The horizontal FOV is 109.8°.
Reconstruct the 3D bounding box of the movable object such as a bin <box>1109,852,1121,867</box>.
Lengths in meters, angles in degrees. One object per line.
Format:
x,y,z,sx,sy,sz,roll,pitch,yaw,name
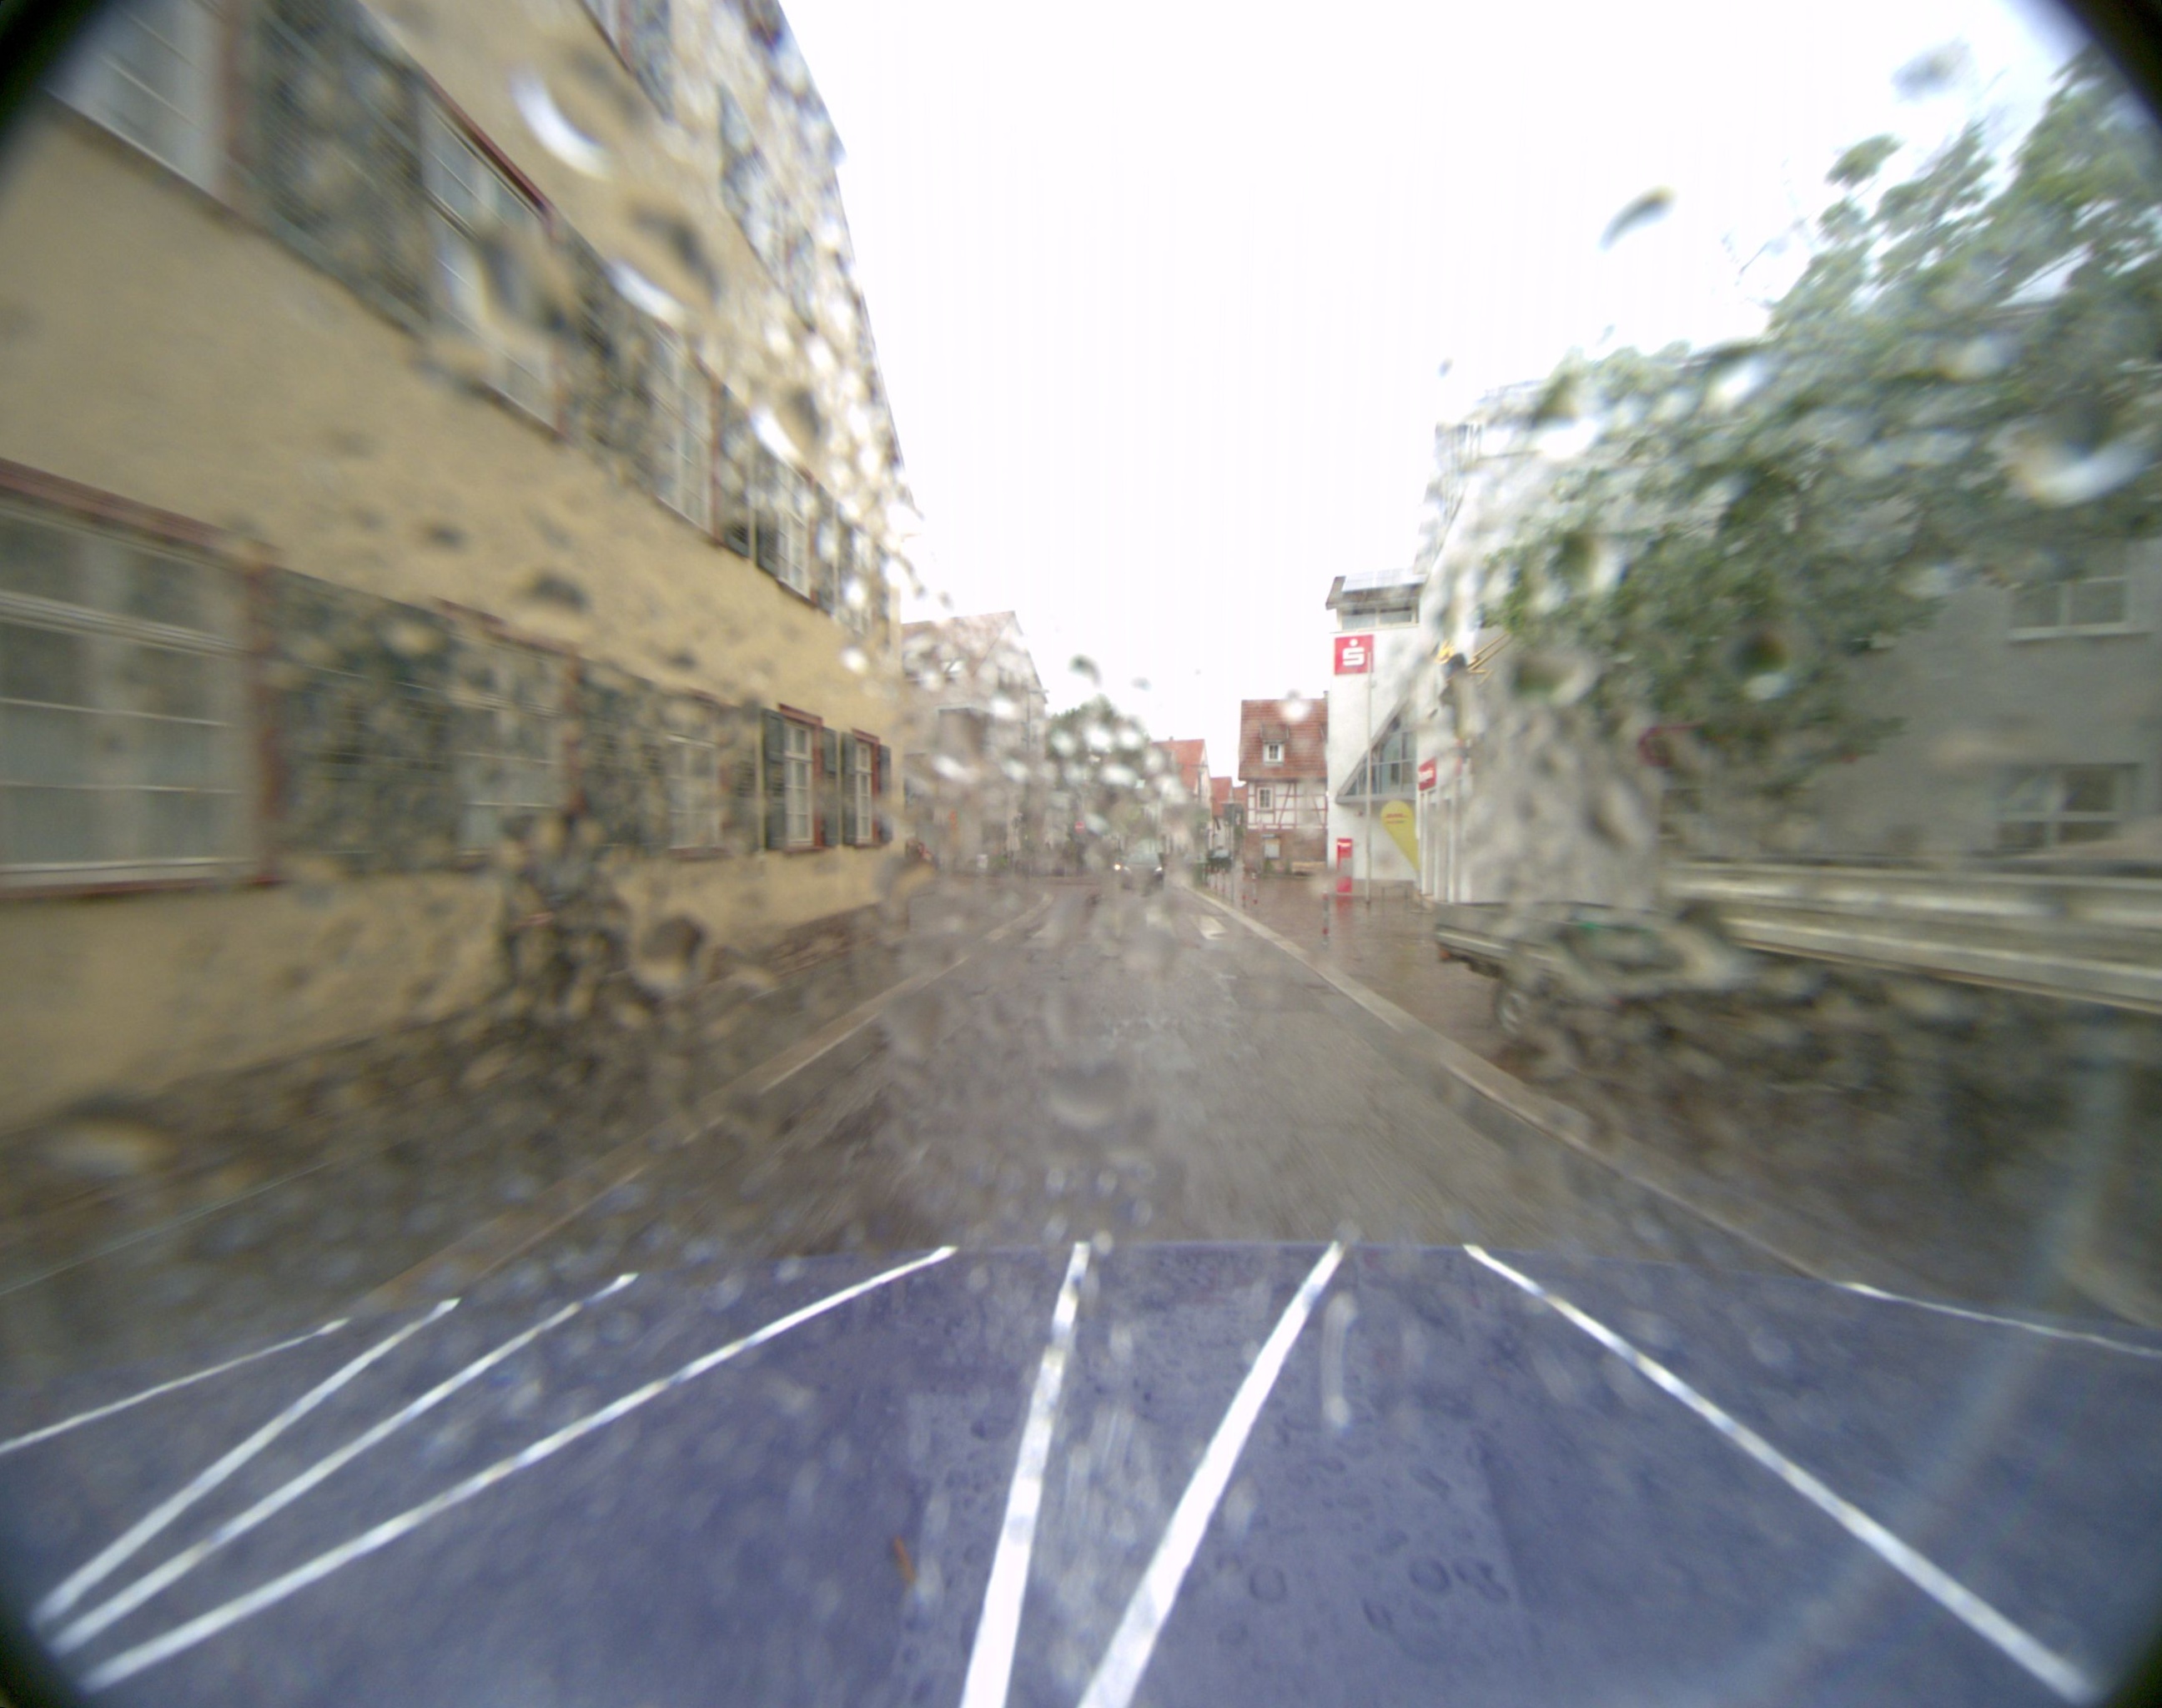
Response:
2.500,0.364,55.093,0.764,1.069,0.538,1,2,13,movable object such as a bin

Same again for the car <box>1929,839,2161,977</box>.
13.671,0.634,9.251,3.991,1.555,1.968,1,1,16,car

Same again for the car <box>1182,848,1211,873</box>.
7.386,0.388,48.771,1.693,1.477,4.001,0,1,7,car

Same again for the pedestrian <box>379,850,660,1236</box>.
-2.712,0.825,3.770,0.715,1.683,0.868,0,1,5,pedestrian

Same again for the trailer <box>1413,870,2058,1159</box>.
3.876,0.816,5.277,1.732,1.339,3.160,1,0,0,trailer

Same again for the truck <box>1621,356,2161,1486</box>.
3.905,0.168,0.407,2.480,2.778,6.599,1,0,0,truck

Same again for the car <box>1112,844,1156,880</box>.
2.887,0.372,40.566,1.997,1.740,4.002,1,1,9,car

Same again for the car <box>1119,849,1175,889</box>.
2.772,0.582,31.217,1.734,1.546,3.849,1,0,13,car

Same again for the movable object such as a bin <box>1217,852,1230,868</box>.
9.873,0.408,52.561,0.834,1.105,0.920,1,2,11,movable object such as a bin

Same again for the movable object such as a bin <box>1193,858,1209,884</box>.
5.259,0.749,33.198,0.659,1.108,0.553,1,2,9,movable object such as a bin

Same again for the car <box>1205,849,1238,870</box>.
11.177,0.389,60.404,1.996,1.520,4.005,-2,0,18,car

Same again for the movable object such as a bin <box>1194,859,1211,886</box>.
5.147,0.780,32.266,0.659,1.090,0.613,1,2,7,movable object such as a bin
